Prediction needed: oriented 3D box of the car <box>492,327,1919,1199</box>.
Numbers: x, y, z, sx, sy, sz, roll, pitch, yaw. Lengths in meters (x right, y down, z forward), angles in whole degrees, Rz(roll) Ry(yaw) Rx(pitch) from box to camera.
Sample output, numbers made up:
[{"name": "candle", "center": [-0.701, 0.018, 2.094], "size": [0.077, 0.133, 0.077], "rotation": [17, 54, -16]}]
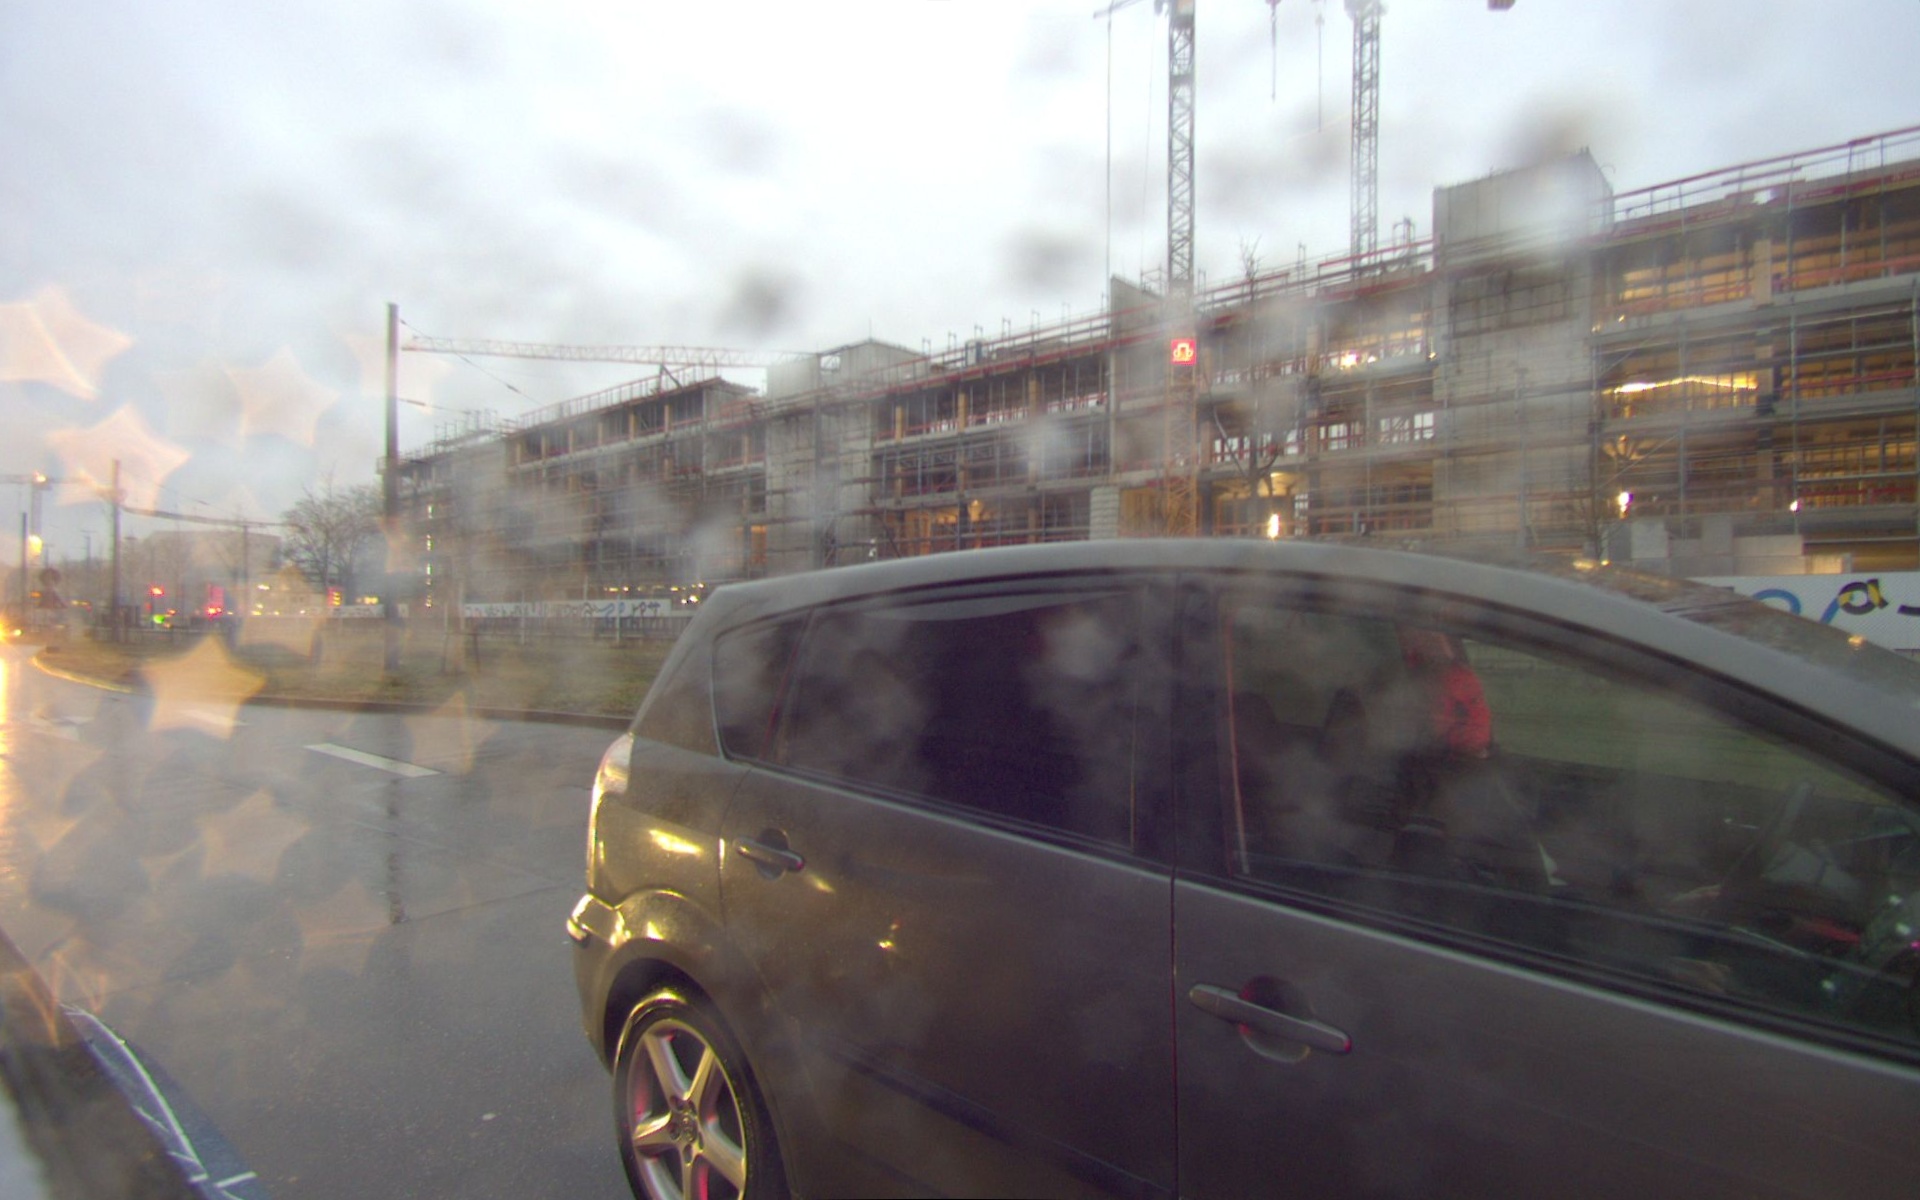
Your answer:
[{"name": "car", "center": [0.996, 0.604, 1.896], "size": [4.131, 1.659, 1.793], "rotation": [-1, -1, 39]}]

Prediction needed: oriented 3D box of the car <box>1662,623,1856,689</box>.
[{"name": "car", "center": [20.771, 1.396, 26.427], "size": [1.602, 1.489, 3.708], "rotation": [-1, 1, -38]}]
